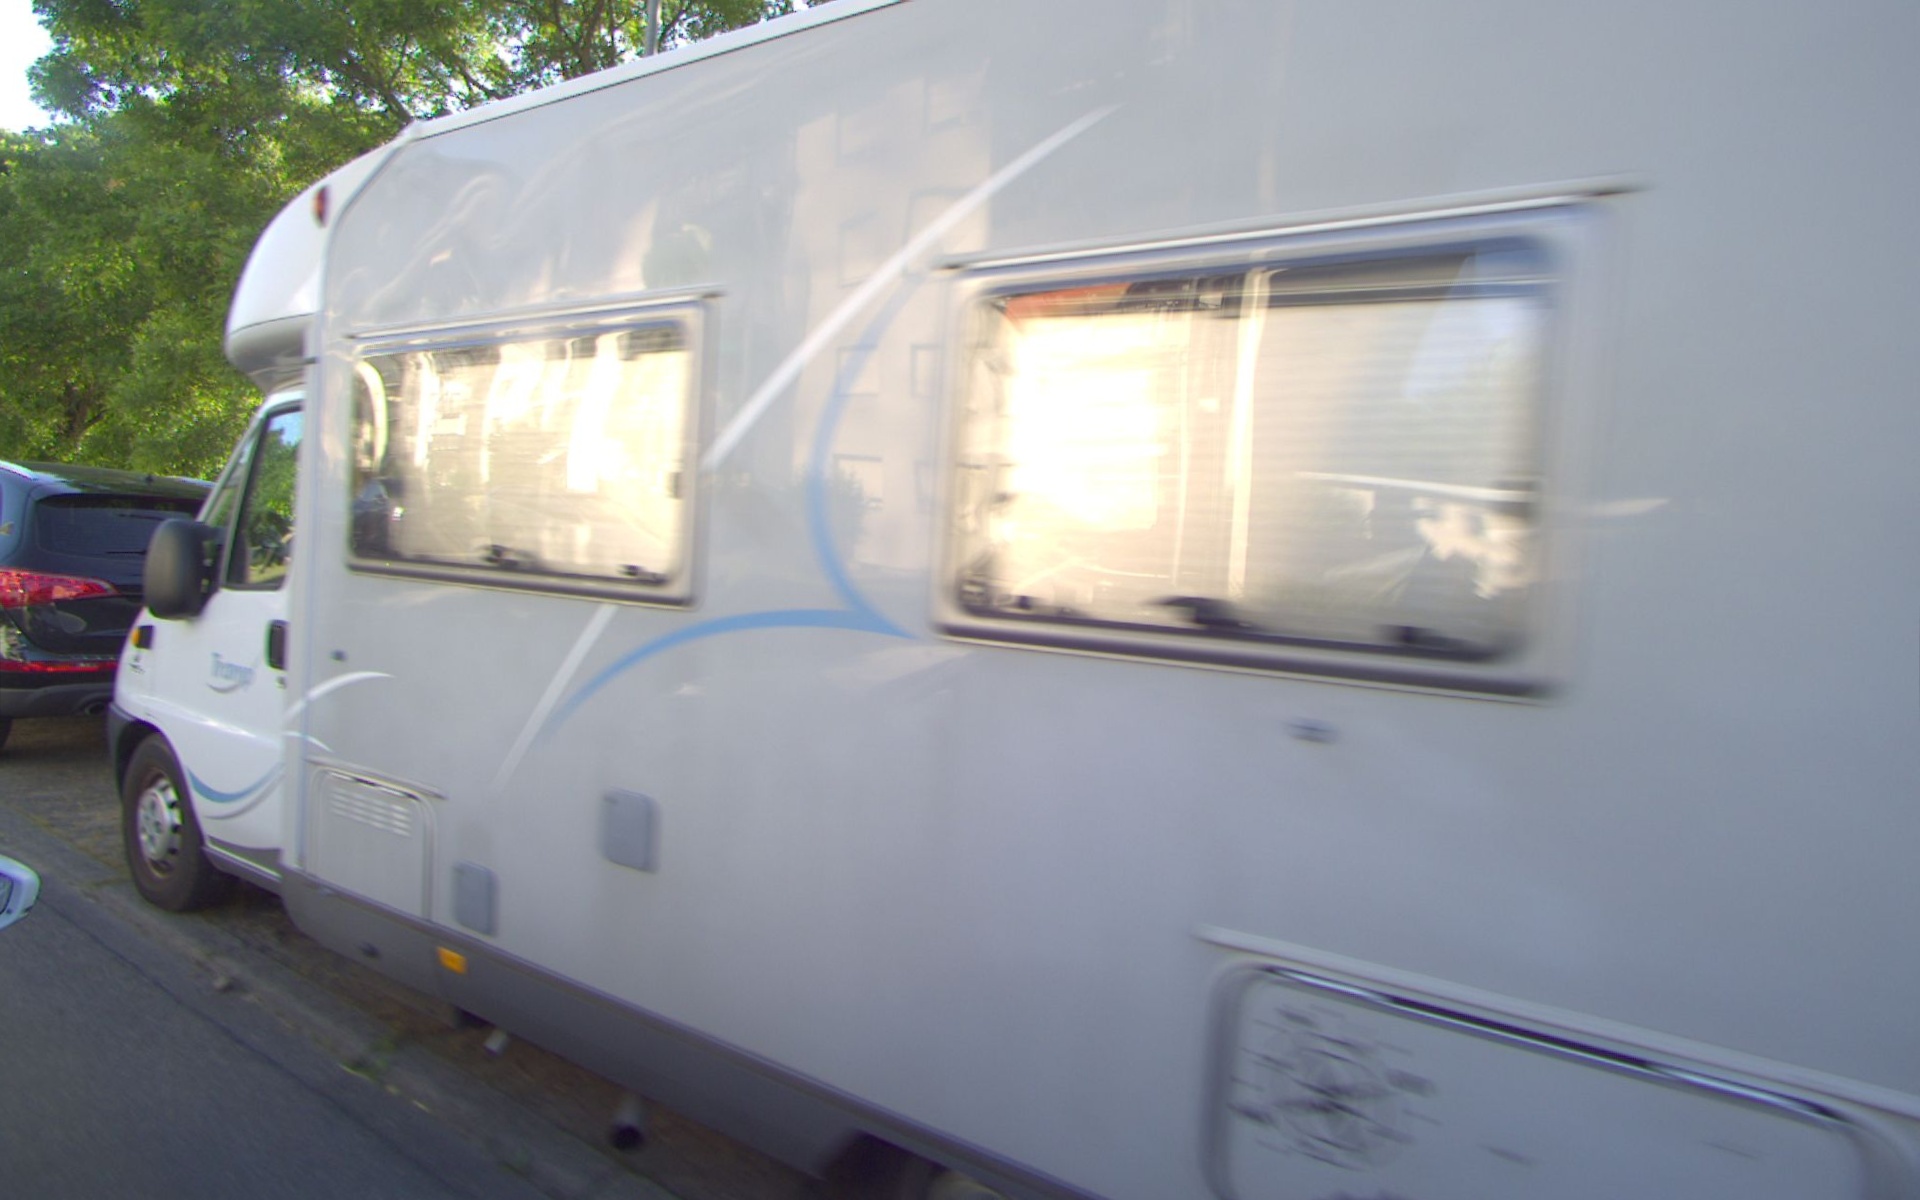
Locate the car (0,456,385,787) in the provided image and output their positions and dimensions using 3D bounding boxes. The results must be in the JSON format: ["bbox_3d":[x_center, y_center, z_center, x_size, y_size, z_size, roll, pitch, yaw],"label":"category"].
[{"bbox_3d":[-6.279,-0.085,6.921,4.459,1.663,1.994,6,3,29],"label":"car"}]

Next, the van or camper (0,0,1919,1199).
[{"bbox_3d":[-0.584,0.057,3.388,6.319,2.633,2.350,6,4,31],"label":"van or camper"}]

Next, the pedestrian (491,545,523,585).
[{"bbox_3d":[-13.285,-1.027,29.489,0.498,1.103,0.634,6,2,12],"label":"pedestrian"}]
